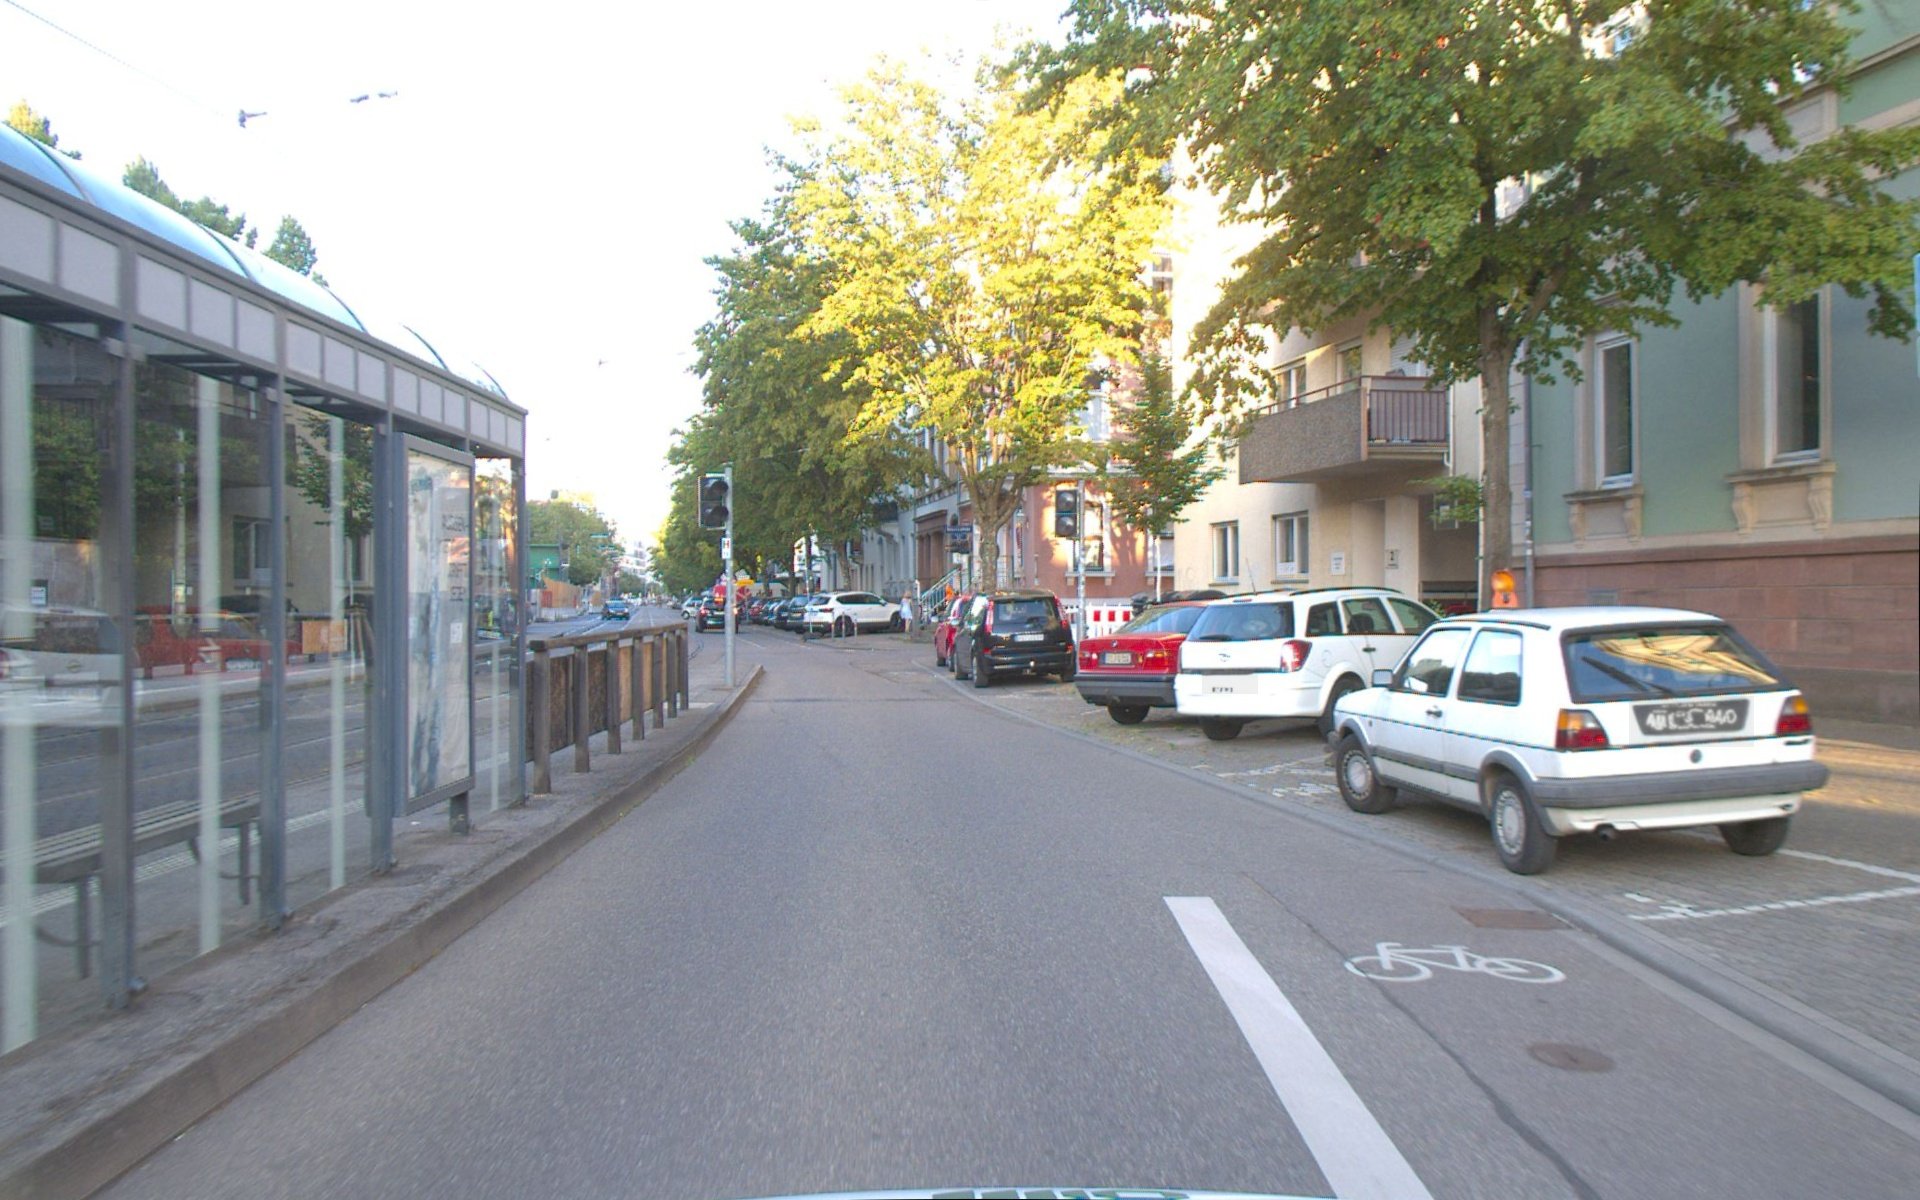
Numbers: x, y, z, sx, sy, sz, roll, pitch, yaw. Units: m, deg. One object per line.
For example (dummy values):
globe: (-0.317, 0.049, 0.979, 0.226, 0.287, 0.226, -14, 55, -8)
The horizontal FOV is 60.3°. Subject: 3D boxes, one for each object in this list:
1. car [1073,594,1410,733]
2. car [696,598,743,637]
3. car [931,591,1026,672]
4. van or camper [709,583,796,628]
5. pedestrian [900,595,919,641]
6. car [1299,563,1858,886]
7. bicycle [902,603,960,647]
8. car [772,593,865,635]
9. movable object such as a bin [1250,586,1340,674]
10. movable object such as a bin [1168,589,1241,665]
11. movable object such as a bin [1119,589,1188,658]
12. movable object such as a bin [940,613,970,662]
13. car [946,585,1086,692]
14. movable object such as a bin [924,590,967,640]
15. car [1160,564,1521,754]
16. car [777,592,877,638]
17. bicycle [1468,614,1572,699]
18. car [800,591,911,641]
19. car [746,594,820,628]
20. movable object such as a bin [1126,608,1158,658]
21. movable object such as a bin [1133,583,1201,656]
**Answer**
car: (3.417, 0.681, 19.682, 4.168, 1.479, 1.623, 0, 0, -39)
car: (-10.810, 0.761, 74.244, 1.848, 1.648, 3.989, 2, -1, -11)
car: (0.341, 0.637, 34.998, 1.535, 1.563, 3.688, -3, 0, -6)
van or camper: (-13.671, 0.359, 109.213, 2.051, 2.574, 5.513, -3, 1, 44)
pedestrian: (-1.816, 0.643, 59.541, 0.576, 1.637, 0.623, 0, 0, -11)
car: (3.683, 0.648, 10.694, 1.648, 1.579, 3.993, -3, 0, -7)
bicycle: (-0.867, 0.743, 50.485, 0.591, 1.288, 1.905, -1, 0, 44)
car: (-6.438, 0.631, 75.640, 3.924, 1.631, 1.811, -4, 0, -43)
movable object such as a bin: (5.985, 0.516, 29.651, 1.093, 1.528, 1.478, 0, 0, -11)
movable object such as a bin: (5.015, 0.543, 33.999, 1.120, 1.528, 1.267, 0, 0, -11)
movable object such as a bin: (4.383, 0.517, 37.524, 1.120, 1.528, 1.594, 0, 0, -11)
movable object such as a bin: (-0.114, 0.897, 39.709, 0.697, 1.174, 0.588, 0, 0, 1)
car: (0.902, 0.631, 28.958, 1.711, 1.660, 4.081, -3, 0, -8)
movable object such as a bin: (-0.470, 0.469, 52.248, 1.120, 1.528, 1.395, 0, 0, -11)
car: (4.077, 0.537, 17.348, 4.177, 1.755, 1.694, 0, 0, -44)
car: (-5.564, 0.612, 69.453, 1.868, 1.697, 3.932, -3, 0, 42)
bicycle: (7.549, 0.742, 22.353, 0.639, 1.093, 1.552, 0, 0, -11)
car: (-3.891, 0.579, 61.808, 3.922, 1.655, 1.648, -4, 2, -42)
car: (-10.449, 0.648, 97.694, 3.916, 1.631, 1.815, -5, 1, -38)
movable object such as a bin: (3.983, 0.719, 36.265, 0.544, 1.066, 0.569, 0, 0, -12)
movable object such as a bin: (4.411, 0.409, 35.275, 1.053, 1.528, 1.314, 0, 0, -13)
